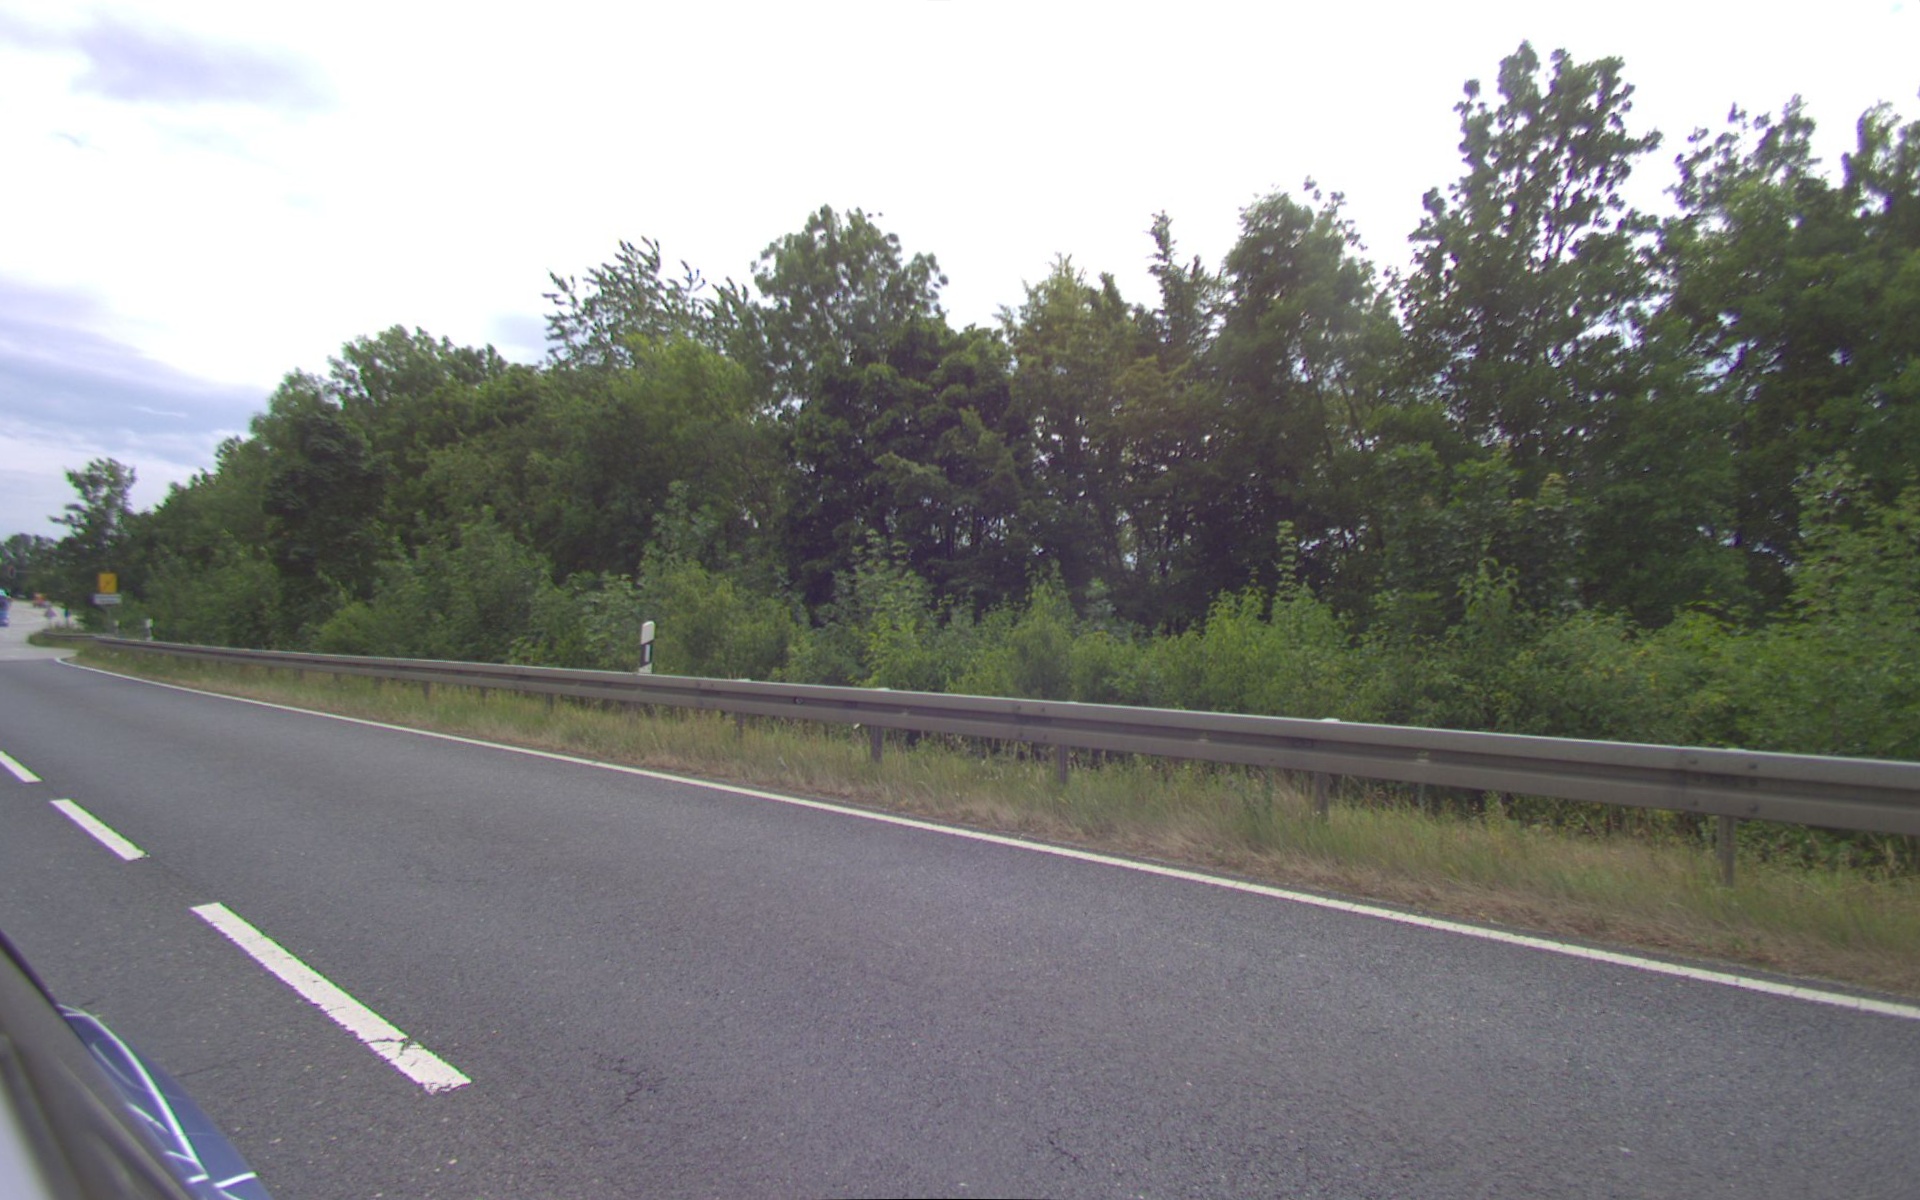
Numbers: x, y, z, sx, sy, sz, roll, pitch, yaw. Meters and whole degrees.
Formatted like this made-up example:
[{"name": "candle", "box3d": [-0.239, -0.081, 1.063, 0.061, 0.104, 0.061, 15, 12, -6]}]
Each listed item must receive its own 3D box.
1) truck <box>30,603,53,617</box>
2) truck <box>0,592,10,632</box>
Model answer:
[{"name": "truck", "box3d": [-179.541, 1.966, 197.716, 6.015, 2.621, 2.293, 0, -3, 38]}, {"name": "truck", "box3d": [-107.793, 1.255, 112.391, 2.984, 4.383, 9.578, 4, -3, -44]}]
